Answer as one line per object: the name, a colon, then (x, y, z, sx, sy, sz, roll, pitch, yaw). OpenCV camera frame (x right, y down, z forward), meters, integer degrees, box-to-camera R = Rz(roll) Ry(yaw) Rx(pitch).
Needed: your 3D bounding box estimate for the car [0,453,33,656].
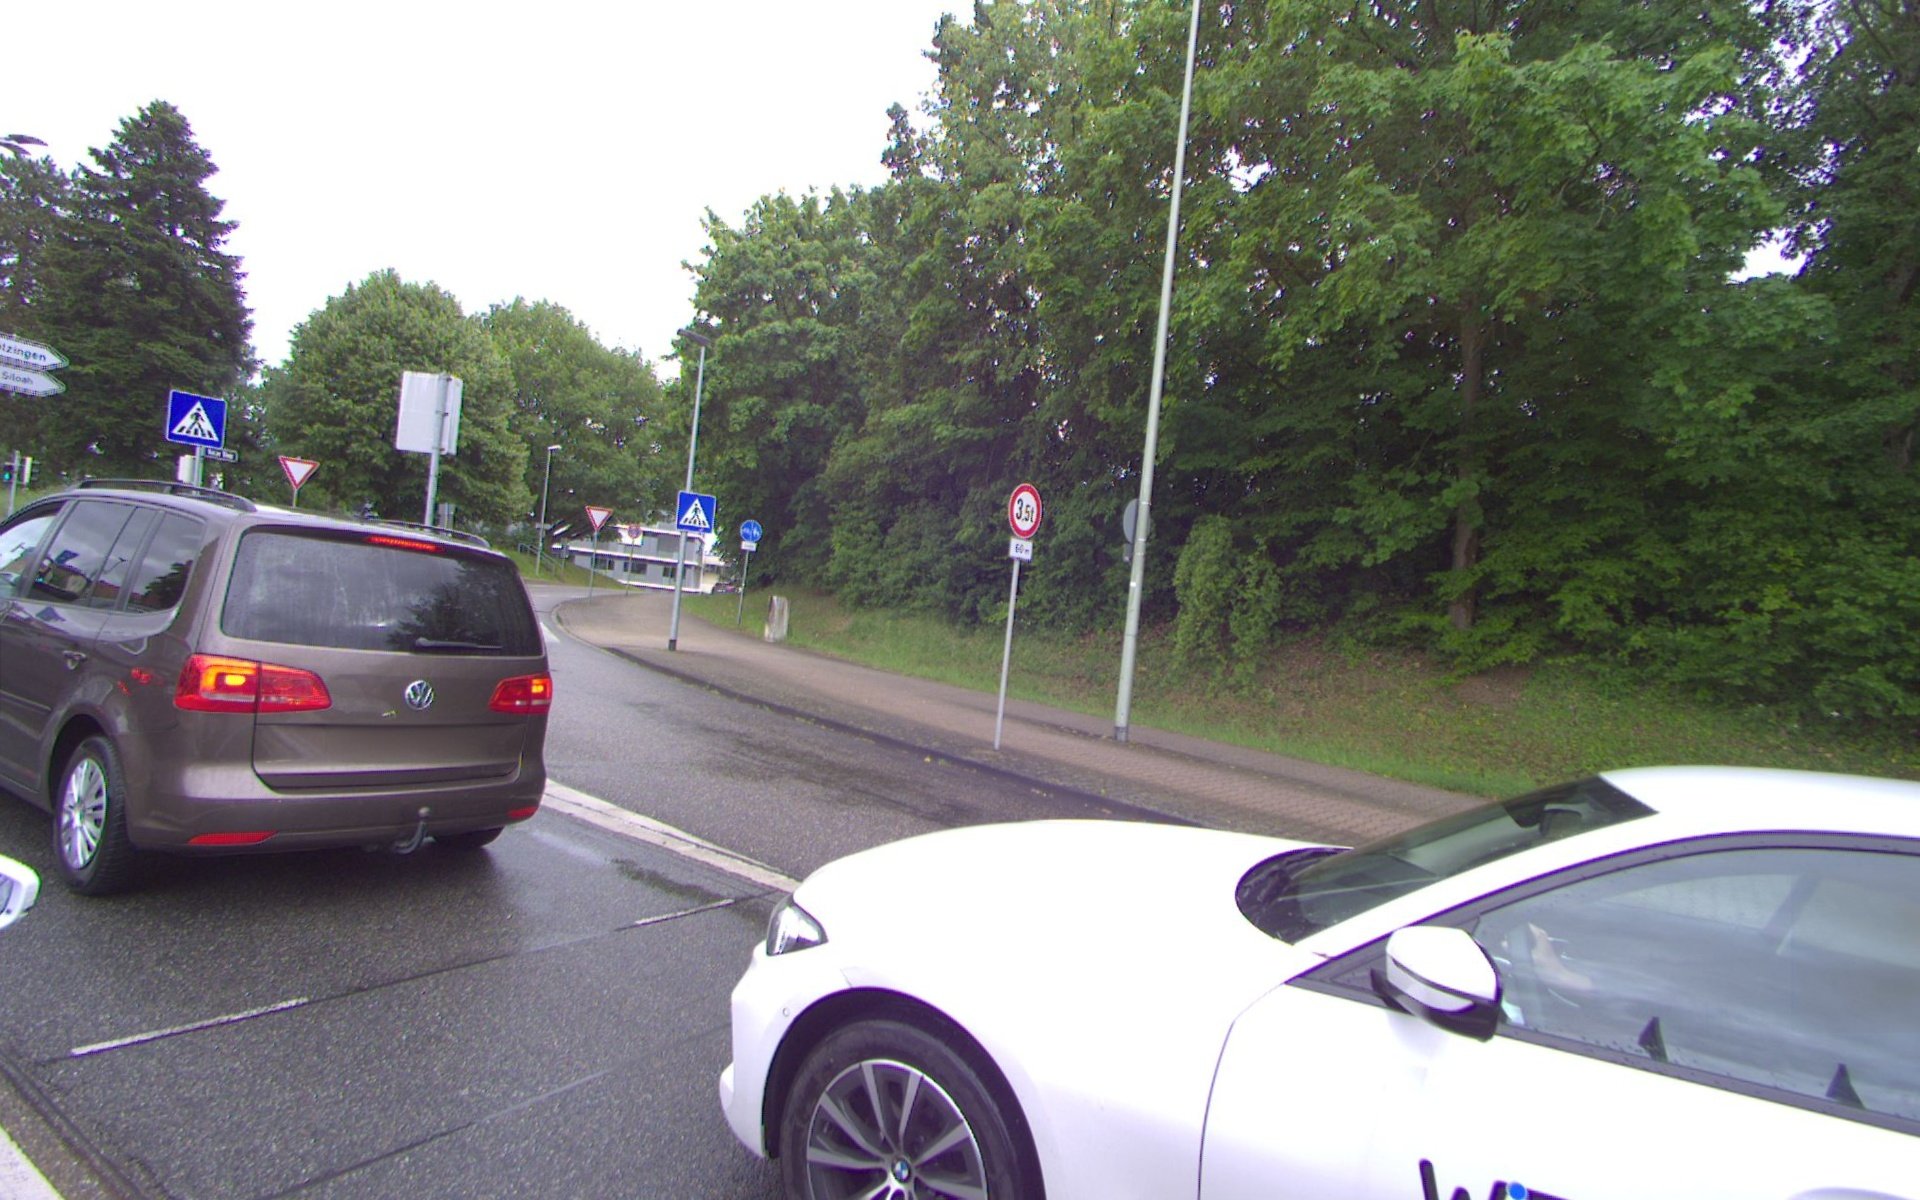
car: (-10.989, -0.690, 9.788, 3.741, 1.900, 1.768, 7, -1, 31)

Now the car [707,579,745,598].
car: (-18.430, -0.888, 79.394, 1.692, 1.270, 4.001, 7, 0, 3)

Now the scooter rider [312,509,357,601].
scooter rider: (-14.100, -1.010, 22.678, 0.538, 1.990, 0.501, 7, 1, 31)

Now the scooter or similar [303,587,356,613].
scooter or similar: (-14.227, 0.000, 22.699, 1.235, 0.408, 0.487, 7, 0, 31)

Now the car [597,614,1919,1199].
car: (1.597, 1.066, 2.107, 4.601, 1.474, 1.783, 6, -1, 30)

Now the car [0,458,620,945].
car: (-3.855, 0.264, 5.203, 3.915, 1.628, 1.750, 6, -1, 32)
